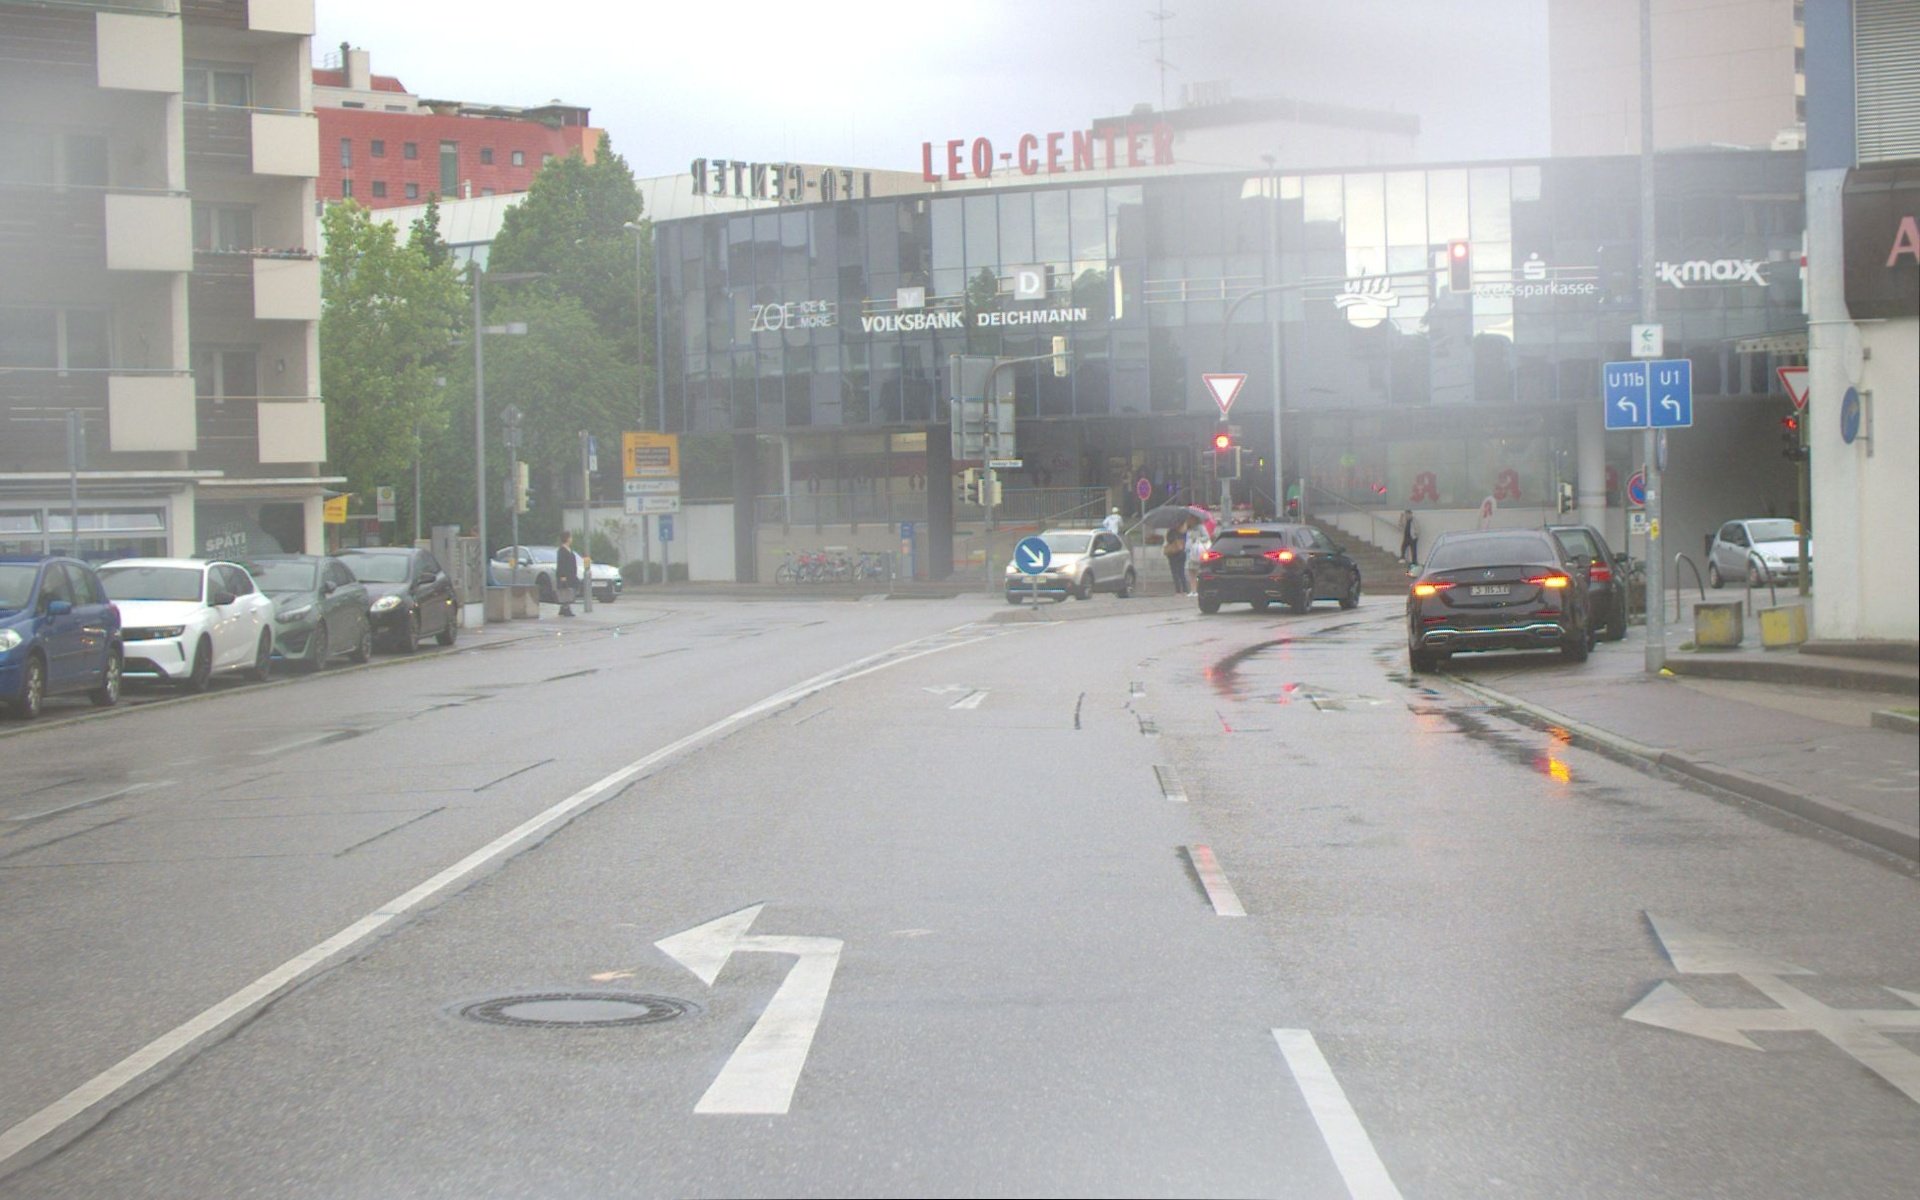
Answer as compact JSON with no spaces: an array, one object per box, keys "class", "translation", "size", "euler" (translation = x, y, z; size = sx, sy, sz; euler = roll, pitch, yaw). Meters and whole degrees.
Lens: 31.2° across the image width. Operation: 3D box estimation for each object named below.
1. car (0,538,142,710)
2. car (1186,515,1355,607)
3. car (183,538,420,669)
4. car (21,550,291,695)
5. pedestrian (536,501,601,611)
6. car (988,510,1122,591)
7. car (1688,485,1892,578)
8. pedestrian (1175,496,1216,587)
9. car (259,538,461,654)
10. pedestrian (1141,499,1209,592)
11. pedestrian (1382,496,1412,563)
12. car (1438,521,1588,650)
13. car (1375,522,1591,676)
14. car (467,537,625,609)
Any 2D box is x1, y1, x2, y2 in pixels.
[{"class":"car","translation":[-9.297,0.188,33.039],"size":[1.652,1.515,4.324],"euler":[-1,1,2]},{"class":"car","translation":[5.104,-0.660,56.066],"size":[1.806,1.414,3.996],"euler":[-1,1,19]},{"class":"car","translation":[-8.330,0.001,43.911],"size":[1.934,1.536,4.521],"euler":[-1,1,3]},{"class":"car","translation":[-8.934,0.203,38.595],"size":[1.693,1.459,4.684],"euler":[-1,1,3]},{"class":"pedestrian","translation":[-7.339,-0.817,64.424],"size":[0.749,2.007,0.920],"euler":[3,1,23]},{"class":"car","translation":[1.938,-1.018,69.009],"size":[1.826,1.434,3.839],"euler":[-2,2,15]},{"class":"car","translation":[18.502,-1.526,76.730],"size":[1.994,2.007,3.998],"euler":[-2,2,-40]},{"class":"pedestrian","translation":[4.400,-1.089,64.186],"size":[0.609,1.653,0.672],"euler":[3,2,-2]},{"class":"car","translation":[-8.543,-0.090,49.284],"size":[1.934,1.536,4.273],"euler":[-1,1,3]},{"class":"pedestrian","translation":[3.952,-0.999,63.278],"size":[0.908,1.653,0.755],"euler":[2,3,-25]},{"class":"pedestrian","translation":[13.231,-2.145,104.161],"size":[0.788,2.007,0.670],"euler":[-1,1,13]},{"class":"car","translation":[7.292,-0.225,45.116],"size":[1.699,1.481,3.998],"euler":[-4,1,11]},{"class":"car","translation":[5.651,-0.019,36.708],"size":[1.994,1.528,4.644],"euler":[0,0,12]},{"class":"car","translation":[-10.274,-0.685,85.063],"size":[1.994,1.506,4.433],"euler":[1,3,-35]}]
